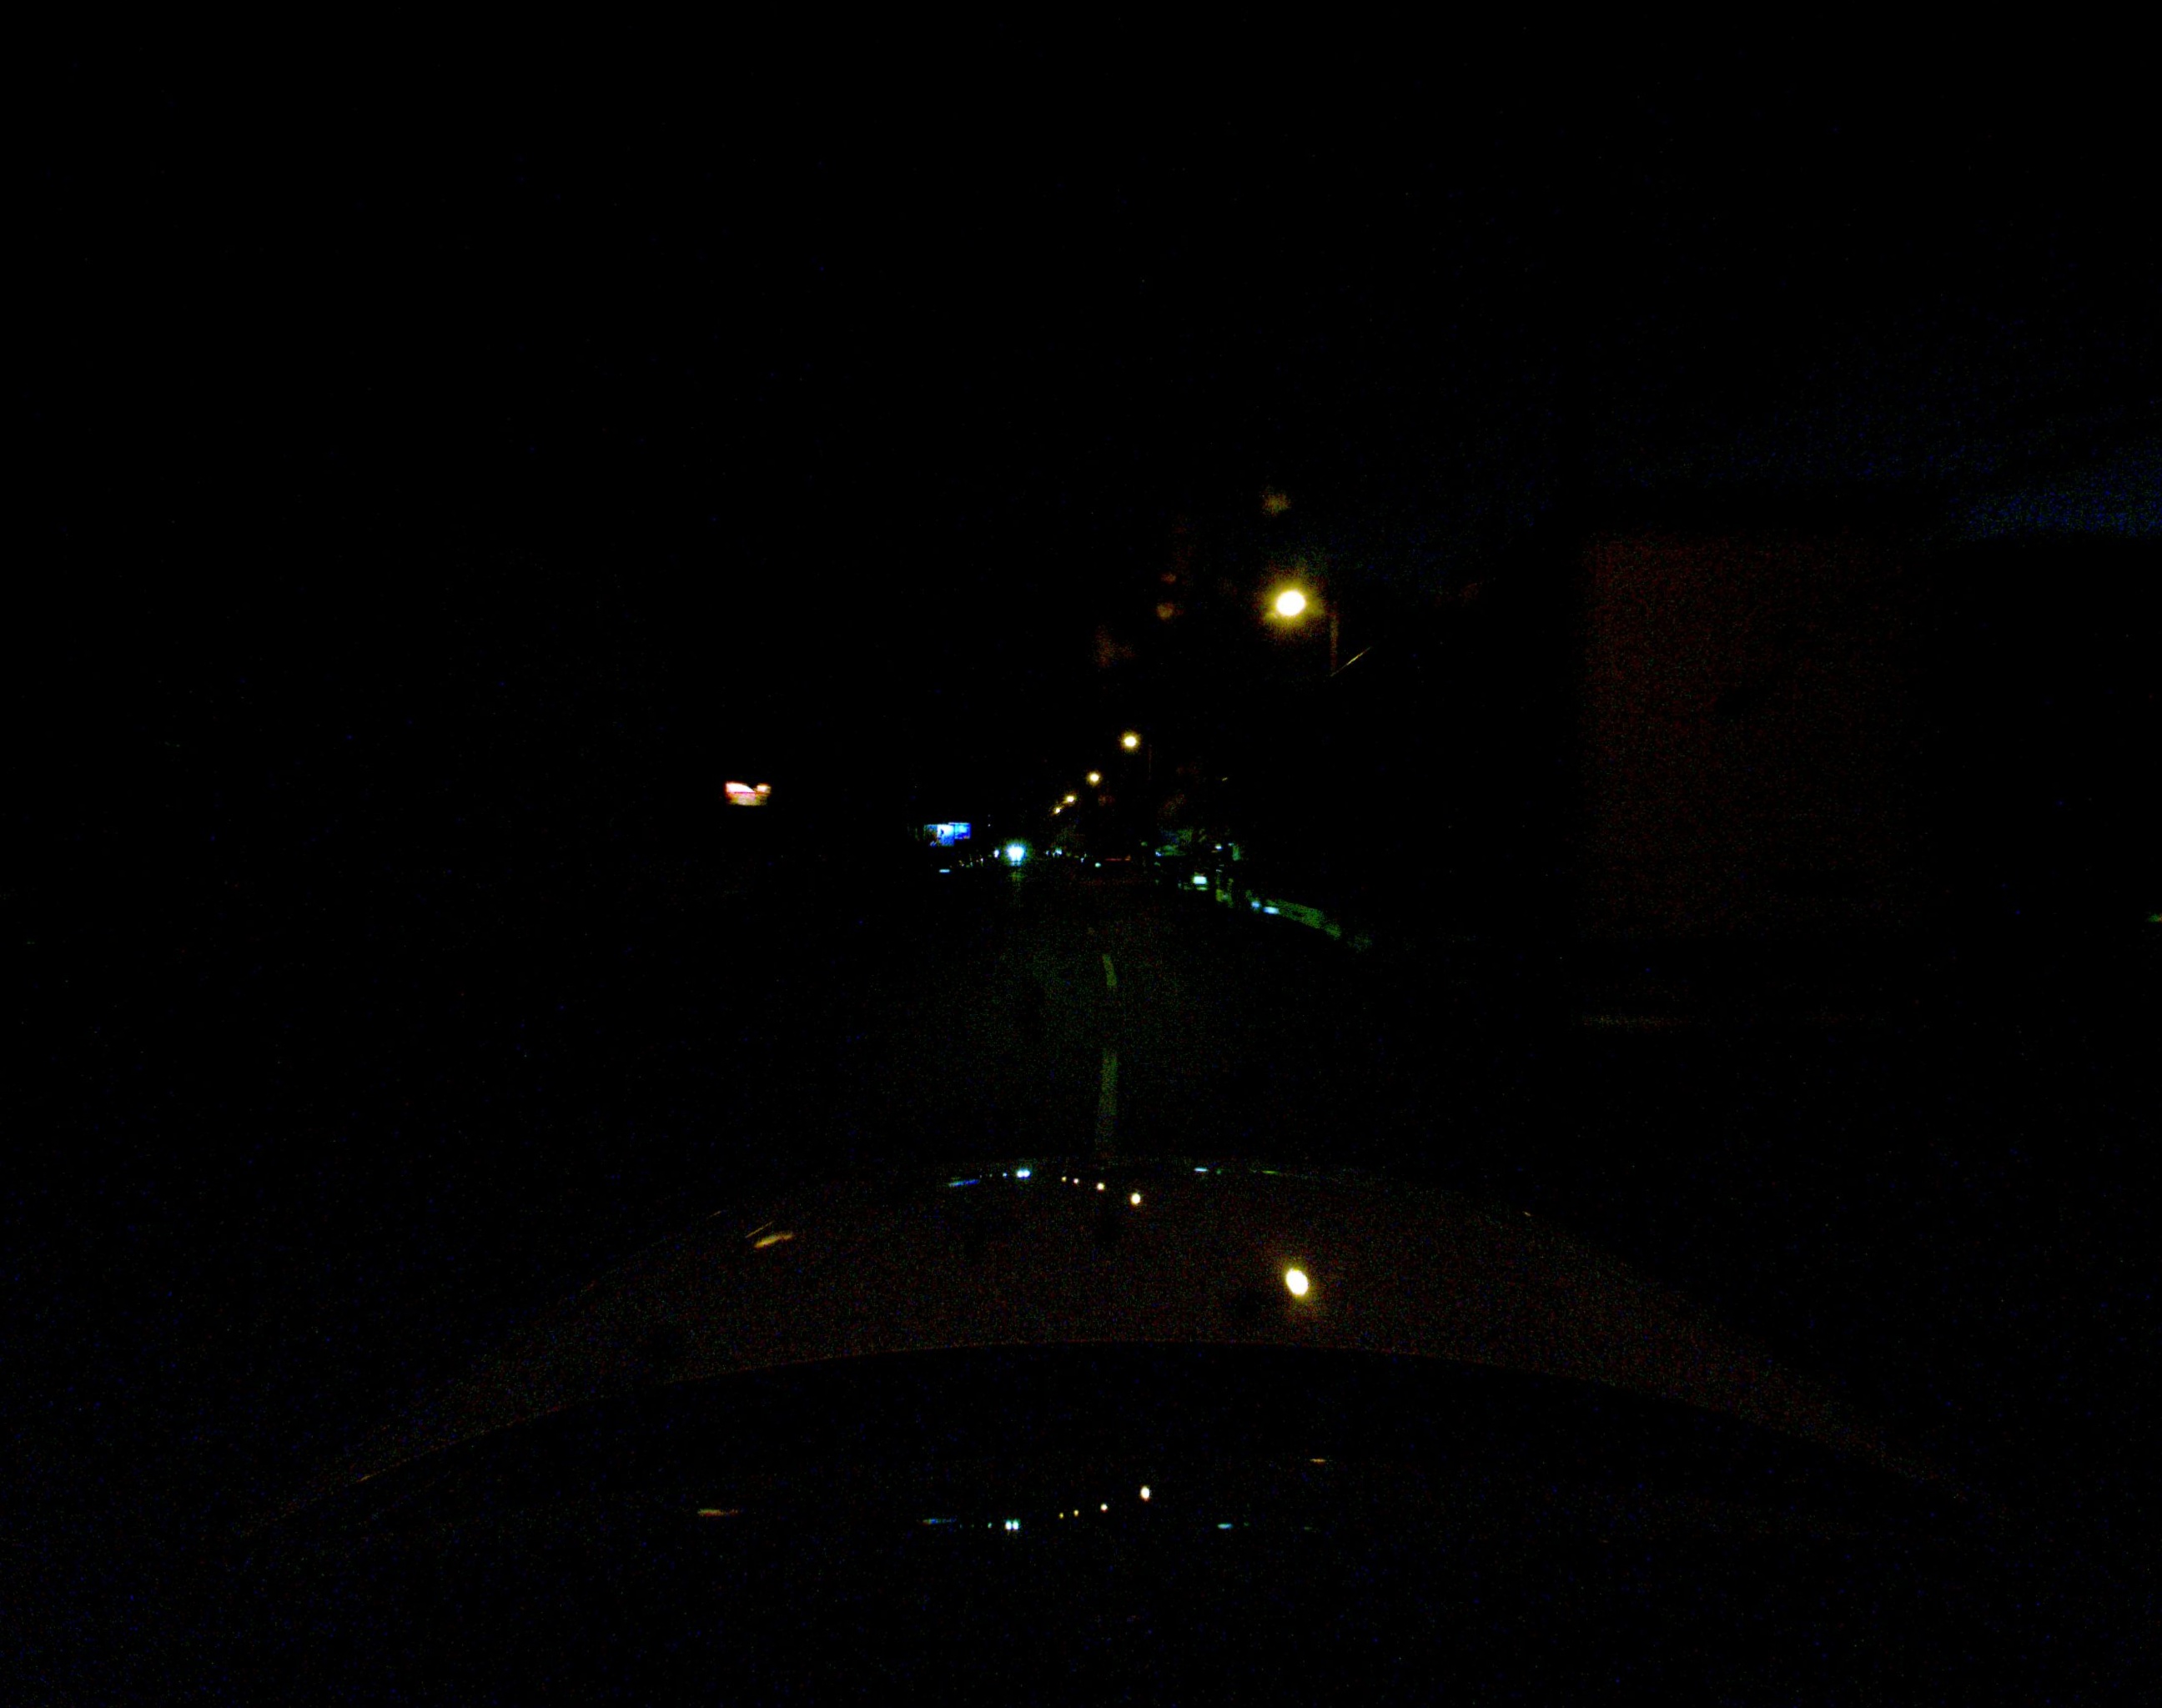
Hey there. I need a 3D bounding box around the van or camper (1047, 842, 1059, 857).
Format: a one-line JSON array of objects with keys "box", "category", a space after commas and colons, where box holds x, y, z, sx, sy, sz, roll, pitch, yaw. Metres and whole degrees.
[{"box": [-5.107, -0.829, 148.383, 1.989, 2.581, 4.908, 1, 0, -4], "category": "van or camper"}]

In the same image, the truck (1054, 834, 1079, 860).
[{"box": [-2.070, -0.946, 114.868, 3.146, 3.463, 6.663, 0, 0, -4], "category": "truck"}]

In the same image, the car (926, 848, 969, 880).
[{"box": [-7.214, 0.518, 44.447, 1.991, 1.636, 4.764, 1, 0, -6], "category": "car"}]

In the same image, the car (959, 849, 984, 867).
[{"box": [-9.141, 0.307, 68.403, 1.838, 1.420, 3.994, 1, 0, -4], "category": "car"}]

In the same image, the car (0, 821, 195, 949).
[{"box": [-13.542, 0.345, 9.583, 1.828, 1.494, 4.511, 1, 0, -11], "category": "car"}]

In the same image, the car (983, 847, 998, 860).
[{"box": [-13.419, -0.091, 120.461, 1.990, 1.794, 3.994, 1, 0, -4], "category": "car"}]

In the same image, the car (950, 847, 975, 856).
[{"box": [-21.078, -0.491, 144.878, 4.013, 1.594, 1.980, 0, 0, -31], "category": "car"}]

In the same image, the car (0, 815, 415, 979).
[{"box": [-10.235, 0.369, 9.607, 1.830, 1.494, 4.508, 1, 0, -13], "category": "car"}]

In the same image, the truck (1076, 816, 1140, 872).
[{"box": [1.898, -0.717, 63.079, 3.516, 3.983, 10.320, 0, 0, -6], "category": "truck"}]

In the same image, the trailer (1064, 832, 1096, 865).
[{"box": [-0.163, -0.592, 91.413, 2.684, 3.464, 7.791, 1, 0, -7], "category": "trailer"}]

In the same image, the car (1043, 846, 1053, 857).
[{"box": [-6.799, -0.533, 168.878, 1.990, 2.145, 3.994, 1, 0, -4], "category": "car"}]

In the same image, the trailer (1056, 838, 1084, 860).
[{"box": [-1.539, -0.602, 107.755, 3.178, 2.749, 10.698, 0, 0, -4], "category": "trailer"}]

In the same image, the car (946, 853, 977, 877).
[{"box": [-7.257, 0.652, 49.665, 1.599, 1.354, 3.993, 1, 0, -5], "category": "car"}]

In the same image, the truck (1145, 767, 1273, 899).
[{"box": [4.279, -0.624, 29.771, 2.822, 3.983, 10.335, 0, 0, -1], "category": "truck"}]

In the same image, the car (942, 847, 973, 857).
[{"box": [-20.698, -0.352, 136.597, 4.638, 1.485, 1.983, 1, 0, -27], "category": "car"}]

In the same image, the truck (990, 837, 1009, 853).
[{"box": [-19.794, -2.190, 197.372, 3.890, 3.621, 8.233, 1, 0, -10], "category": "truck"}]

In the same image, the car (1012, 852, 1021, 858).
[{"box": [-14.959, 0.169, 188.343, 1.990, 1.398, 3.994, 1, 0, -4], "category": "car"}]

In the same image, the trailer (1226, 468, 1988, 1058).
[{"box": [4.799, -0.612, 12.506, 2.799, 3.983, 13.974, 0, 0, 1], "category": "trailer"}]

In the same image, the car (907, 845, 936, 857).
[{"box": [-22.837, -0.456, 116.583, 3.983, 1.651, 1.995, 1, 0, -8], "category": "car"}]

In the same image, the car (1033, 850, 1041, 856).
[{"box": [-11.865, -0.247, 218.910, 1.990, 1.684, 3.994, 1, 0, -4], "category": "car"}]

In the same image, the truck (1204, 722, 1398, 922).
[{"box": [4.855, -0.644, 19.299, 2.822, 3.983, 6.046, 0, 0, -2], "category": "truck"}]
